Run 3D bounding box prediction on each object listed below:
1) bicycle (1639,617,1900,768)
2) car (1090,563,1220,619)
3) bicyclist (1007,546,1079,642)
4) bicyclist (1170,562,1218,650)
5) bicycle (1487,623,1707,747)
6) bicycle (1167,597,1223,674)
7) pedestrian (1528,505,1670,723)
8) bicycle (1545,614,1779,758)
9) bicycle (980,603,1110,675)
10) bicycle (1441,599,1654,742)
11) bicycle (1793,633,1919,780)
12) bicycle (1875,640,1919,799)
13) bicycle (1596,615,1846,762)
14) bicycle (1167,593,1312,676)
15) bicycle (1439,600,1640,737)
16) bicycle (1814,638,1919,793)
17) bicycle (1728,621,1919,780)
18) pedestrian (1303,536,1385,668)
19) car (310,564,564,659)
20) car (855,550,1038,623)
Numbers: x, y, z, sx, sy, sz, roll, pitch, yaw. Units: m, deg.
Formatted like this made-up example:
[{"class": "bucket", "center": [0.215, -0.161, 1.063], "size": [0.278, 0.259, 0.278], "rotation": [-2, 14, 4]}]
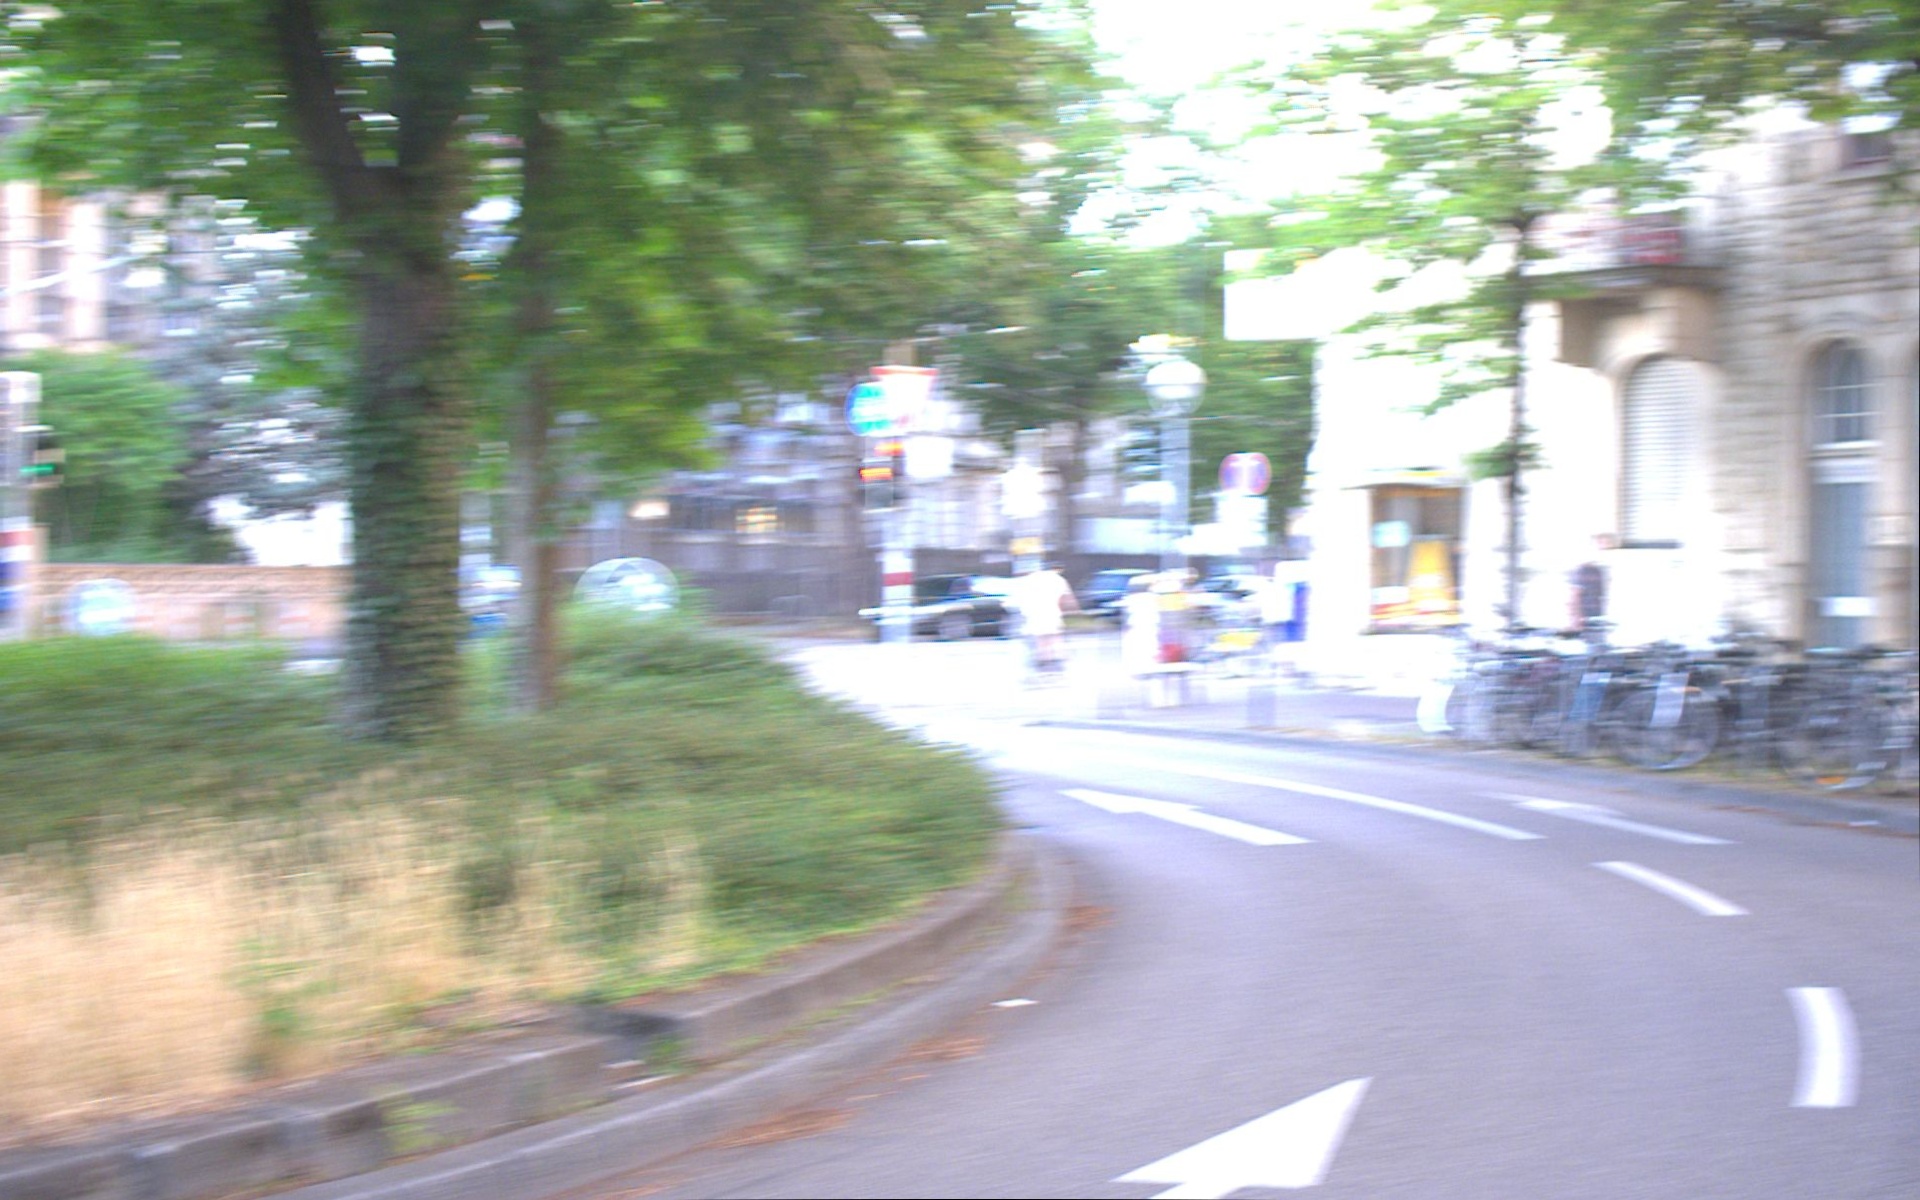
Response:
[{"class": "bicycle", "center": [6.390, 0.721, 27.161], "size": [1.885, 1.158, 0.705], "rotation": [0, 1, -15]}, {"class": "car", "center": [5.375, -0.251, 94.250], "size": [1.947, 1.477, 4.162], "rotation": [1, 1, 29]}, {"class": "bicyclist", "center": [1.231, -0.099, 51.009], "size": [0.862, 1.406, 0.700], "rotation": [0, 1, -19]}, {"class": "bicyclist", "center": [3.933, 0.099, 57.674], "size": [0.698, 1.456, 0.783], "rotation": [1, 1, 11]}, {"class": "bicycle", "center": [5.539, 0.728, 29.885], "size": [1.800, 1.035, 0.700], "rotation": [0, 1, -25]}, {"class": "bicycle", "center": [3.951, 0.587, 57.755], "size": [0.698, 1.232, 1.862], "rotation": [1, 1, 11]}, {"class": "pedestrian", "center": [6.182, 0.118, 33.310], "size": [1.010, 2.078, 1.061], "rotation": [0, 1, -13]}, {"class": "bicycle", "center": [5.834, 0.700, 28.564], "size": [1.885, 1.158, 0.641], "rotation": [0, 1, -25]}, {"class": "bicycle", "center": [1.263, 0.579, 51.025], "size": [1.786, 1.051, 0.700], "rotation": [0, 1, -19]}, {"class": "bicycle", "center": [5.250, 0.618, 30.701], "size": [1.787, 1.232, 0.700], "rotation": [0, 1, -25]}, {"class": "bicycle", "center": [7.095, 0.790, 25.582], "size": [1.669, 1.074, 0.486], "rotation": [0, 1, -9]}, {"class": "bicycle", "center": [7.279, 0.826, 24.044], "size": [1.669, 1.074, 0.486], "rotation": [0, 1, -16]}, {"class": "bicycle", "center": [6.170, 0.709, 27.891], "size": [1.885, 1.158, 0.641], "rotation": [0, 1, -15]}, {"class": "bicycle", "center": [3.872, 0.478, 47.723], "size": [1.871, 1.126, 0.732], "rotation": [1, 0, -10]}, {"class": "bicycle", "center": [5.376, 0.624, 31.872], "size": [1.787, 1.232, 0.651], "rotation": [0, 1, -27]}, {"class": "bicycle", "center": [6.961, 0.814, 24.490], "size": [1.669, 1.074, 0.486], "rotation": [0, 1, -16]}, {"class": "bicycle", "center": [6.687, 0.751, 25.821], "size": [1.669, 1.124, 0.486], "rotation": [0, 7, -7]}, {"class": "pedestrian", "center": [5.276, 0.019, 47.318], "size": [0.867, 1.788, 0.925], "rotation": [1, 1, -10]}, {"class": "car", "center": [-8.757, 0.173, 57.867], "size": [1.947, 1.505, 4.413], "rotation": [1, 1, 29]}, {"class": "car", "center": [-0.250, -0.306, 74.068], "size": [1.947, 1.505, 4.625], "rotation": [1, 1, 29]}]
